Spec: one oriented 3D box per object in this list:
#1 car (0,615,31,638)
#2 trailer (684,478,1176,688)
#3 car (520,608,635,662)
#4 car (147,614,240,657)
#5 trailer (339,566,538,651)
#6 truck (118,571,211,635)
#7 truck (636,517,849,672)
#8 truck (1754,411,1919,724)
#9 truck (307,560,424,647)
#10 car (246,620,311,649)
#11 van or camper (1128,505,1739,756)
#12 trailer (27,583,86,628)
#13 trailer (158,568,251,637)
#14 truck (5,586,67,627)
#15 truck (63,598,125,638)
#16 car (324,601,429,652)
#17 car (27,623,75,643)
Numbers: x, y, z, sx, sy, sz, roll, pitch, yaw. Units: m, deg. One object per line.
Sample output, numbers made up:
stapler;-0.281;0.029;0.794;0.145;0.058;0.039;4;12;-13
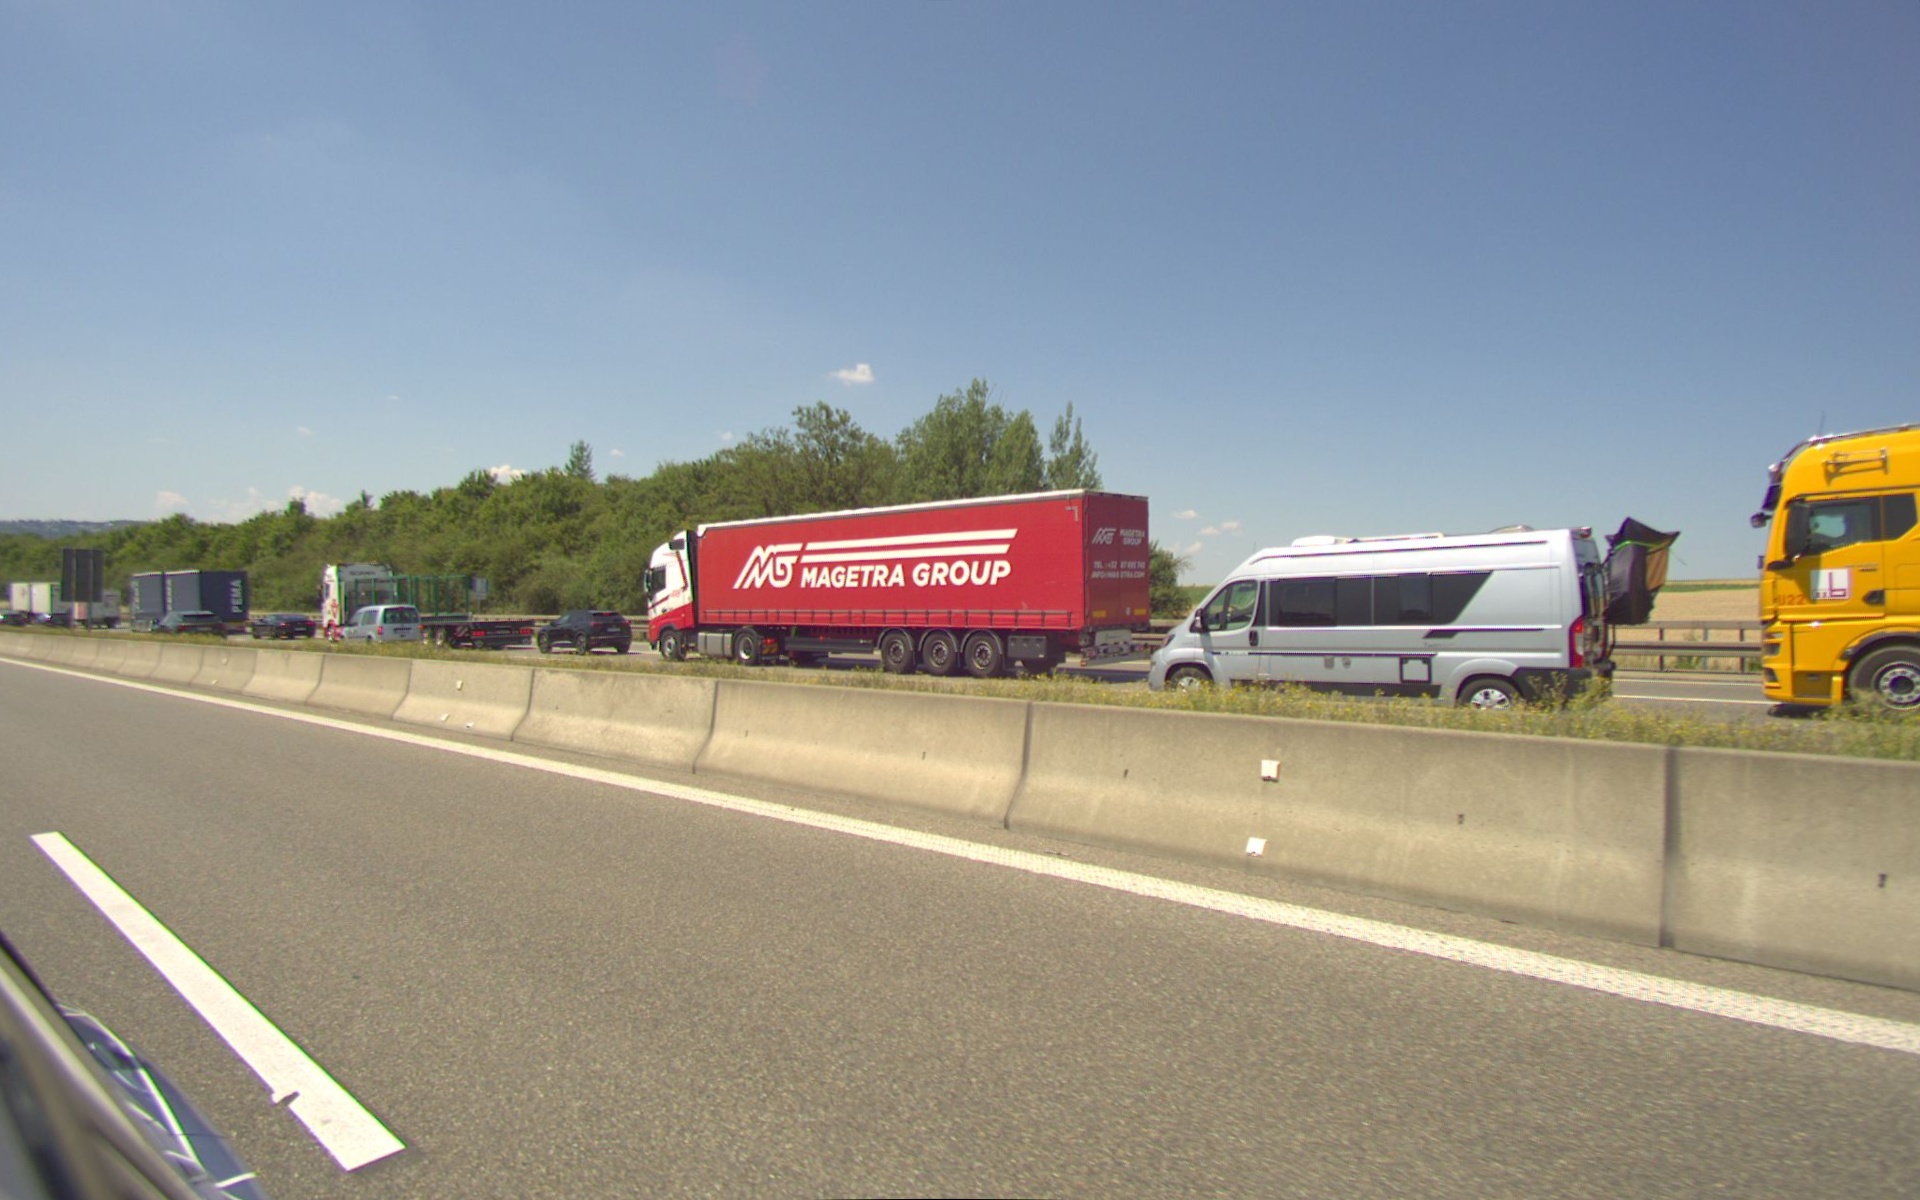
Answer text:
car;-67.809;1.866;72.039;4.549;1.595;1.819;-1;0;39
trailer;-1.650;-0.258;25.881;14.376;4.131;3.053;-1;0;42
car;-13.694;1.199;36.109;4.600;1.643;1.819;2;2;39
car;-33.182;1.481;43.779;5.250;1.708;2.029;-1;0;39
trailer;-22.660;0.374;43.417;12.771;3.230;2.829;-1;0;40
truck;-56.435;0.231;71.694;10.723;4.266;2.971;-1;-1;40
truck;-6.599;-0.124;30.231;6.311;4.112;3.004;-1;0;41
truck;14.217;-0.453;12.177;7.097;3.866;2.721;-2;0;43
truck;-28.424;0.172;48.293;6.172;3.906;2.872;-1;0;40
car;-37.156;1.853;55.139;4.643;1.442;1.640;0;0;39
van or camper;5.969;0.342;13.710;7.139;2.606;2.287;-1;0;41
trailer;-85.253;0.523;95.440;8.221;4.103;2.891;-1;-1;39
trailer;-48.988;0.176;65.522;8.587;4.224;2.956;-1;-1;40
truck;-92.701;0.639;101.448;11.232;3.928;2.815;-1;-1;38
truck;-73.146;1.475;85.409;7.578;3.232;2.514;-1;0;38
car;-22.260;0.970;38.552;4.757;1.785;1.894;-1;0;39
car;-71.447;2.584;79.512;5.164;1.466;1.974;0;0;39
